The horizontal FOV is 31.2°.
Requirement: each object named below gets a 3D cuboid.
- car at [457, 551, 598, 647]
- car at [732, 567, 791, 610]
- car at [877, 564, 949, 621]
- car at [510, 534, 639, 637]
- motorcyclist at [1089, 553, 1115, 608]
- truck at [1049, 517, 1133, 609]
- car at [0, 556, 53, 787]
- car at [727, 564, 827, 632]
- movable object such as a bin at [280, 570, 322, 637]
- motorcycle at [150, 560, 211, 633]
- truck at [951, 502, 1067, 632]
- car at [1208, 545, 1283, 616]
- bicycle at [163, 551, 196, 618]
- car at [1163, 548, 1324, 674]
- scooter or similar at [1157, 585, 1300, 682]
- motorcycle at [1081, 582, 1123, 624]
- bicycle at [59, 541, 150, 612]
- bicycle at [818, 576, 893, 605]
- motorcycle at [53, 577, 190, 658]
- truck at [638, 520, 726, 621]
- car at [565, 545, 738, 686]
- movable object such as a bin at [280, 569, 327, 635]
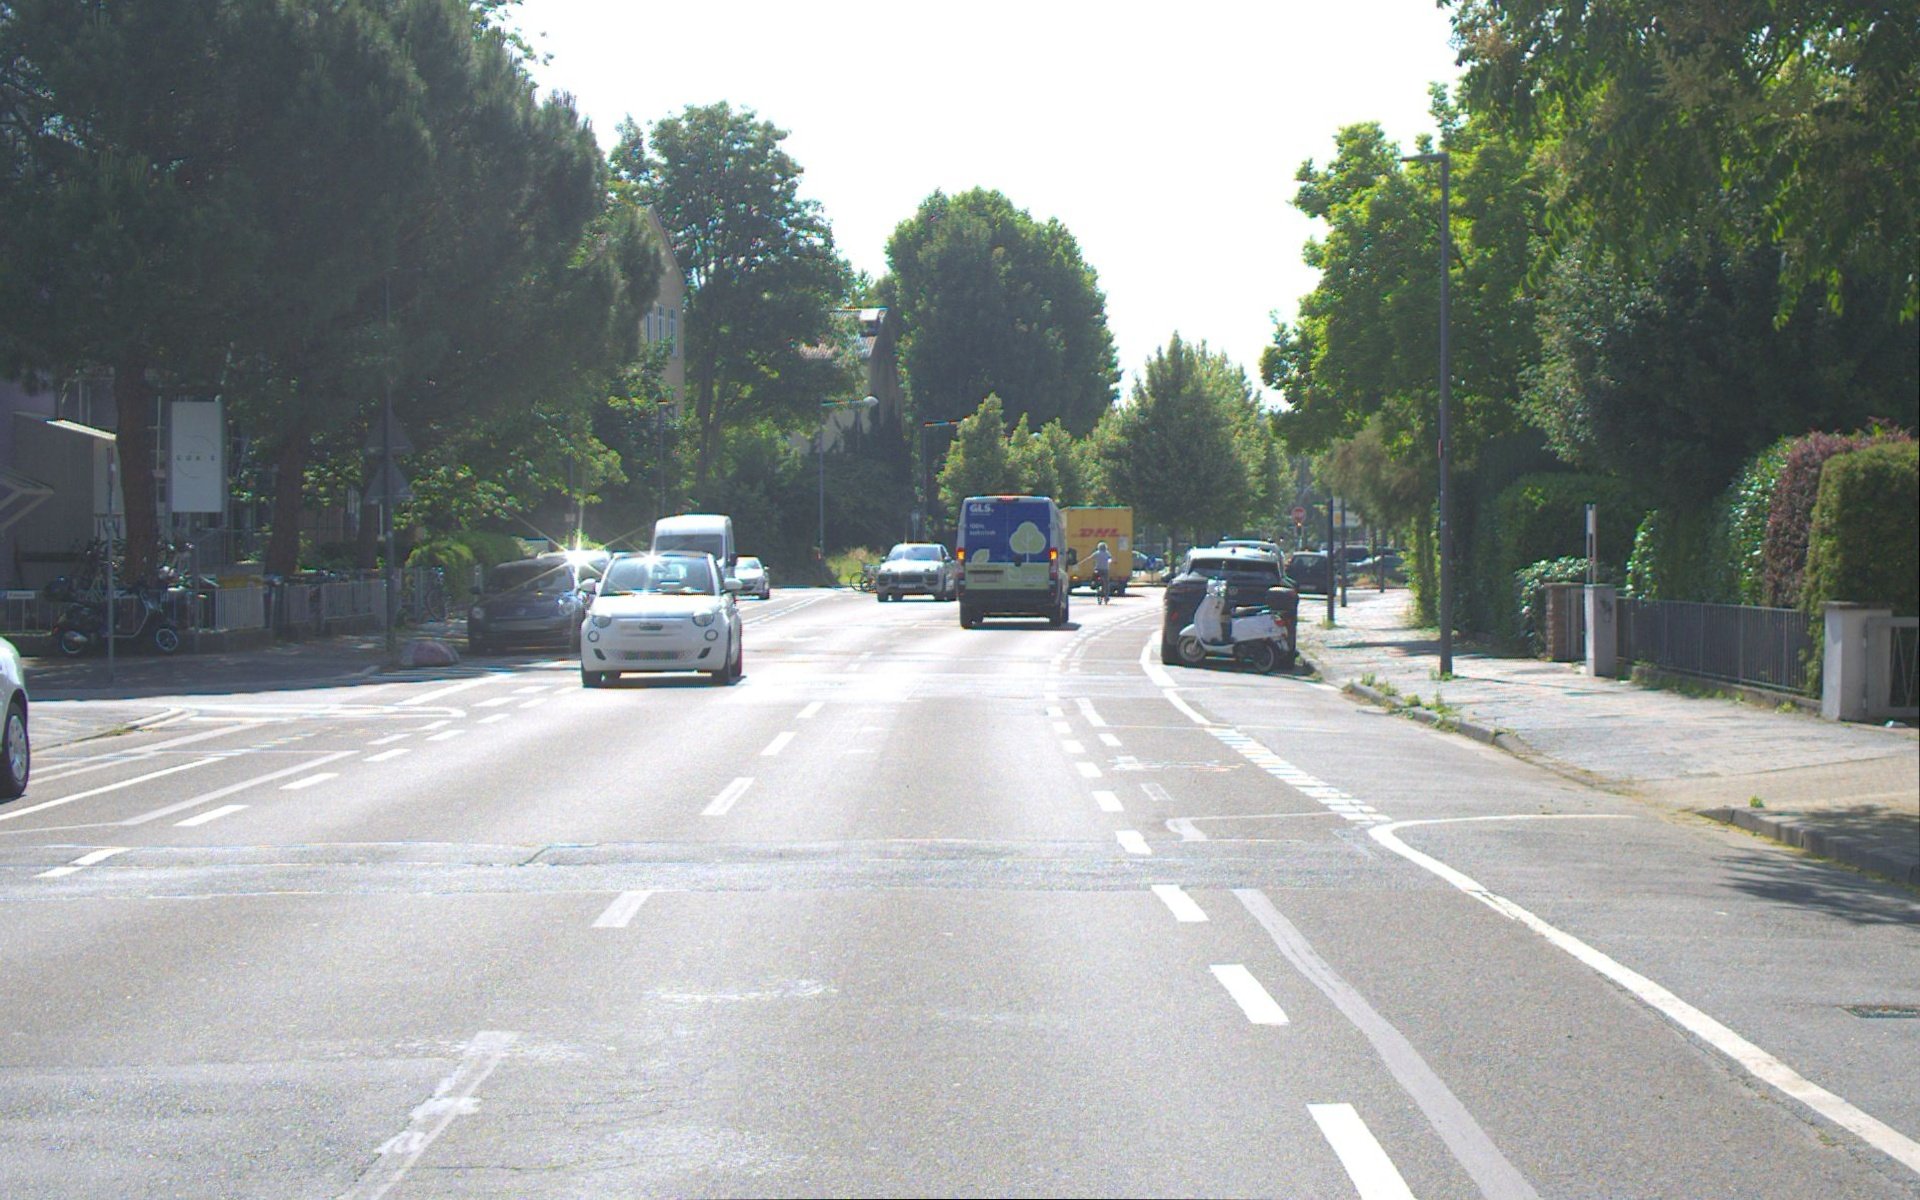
[{"bbox_3d":[-6.867,-0.040,54.886,1.781,1.455,4.086,-1,1,-1],"label":"car"},{"bbox_3d":[-6.377,-0.391,110.594,1.754,1.339,3.654,0,1,-1],"label":"car"},{"bbox_3d":[-1.364,-0.241,102.020,1.993,1.652,4.605,0,1,1],"label":"car"},{"bbox_3d":[-6.779,-0.293,60.796,1.908,1.671,4.259,-2,1,-2],"label":"car"},{"bbox_3d":[3.876,-0.534,93.998,0.672,1.513,0.652,0,0,0],"label":"motorcyclist"},{"bbox_3d":[4.214,-1.188,111.767,2.214,2.936,5.686,0,0,-3],"label":"truck"},{"bbox_3d":[-6.885,0.499,20.594,1.785,1.435,4.000,-3,1,0],"label":"car"},{"bbox_3d":[-4.101,-0.059,77.597,1.835,1.491,3.653,0,1,4],"label":"car"},{"bbox_3d":[-11.026,0.053,57.499,0.544,1.107,0.584,0,0,6],"label":"movable object such as a bin"},{"bbox_3d":[-12.666,-0.060,55.896,0.537,1.178,1.446,0,0,6],"label":"motorcycle"},{"bbox_3d":[1.029,-0.660,69.814,2.272,2.562,4.392,0,0,2],"label":"truck"},{"bbox_3d":[6.862,-0.491,82.904,1.700,1.671,3.774,0,1,3],"label":"car"},{"bbox_3d":[-13.926,-0.279,61.336,0.536,1.178,1.447,0,0,-11],"label":"bicycle"},{"bbox_3d":[4.051,0.132,48.524,1.785,1.632,4.468,2,1,10],"label":"car"},{"bbox_3d":[3.556,0.441,45.682,1.796,1.150,0.718,4,1,45],"label":"scooter or similar"},{"bbox_3d":[3.881,0.078,94.110,1.056,1.119,2.992,0,0,0],"label":"motorcycle"},{"bbox_3d":[-14.967,-0.418,60.144,1.442,1.177,0.538,-2,3,-38],"label":"bicycle"},{"bbox_3d":[-3.856,-0.345,126.648,2.687,1.044,1.026,0,0,-8],"label":"bicycle"},{"bbox_3d":[-12.267,0.253,50.330,1.839,1.178,0.643,0,0,6],"label":"motorcycle"},{"bbox_3d":[-7.145,-0.778,88.865,2.080,2.528,5.468,0,1,-3],"label":"truck"},{"bbox_3d":[-3.573,0.163,40.349,1.732,1.536,4.000,-1,0,-1],"label":"car"},{"bbox_3d":[-11.028,0.033,57.766,0.605,1.107,0.663,0,0,6],"label":"movable object such as a bin"}]
